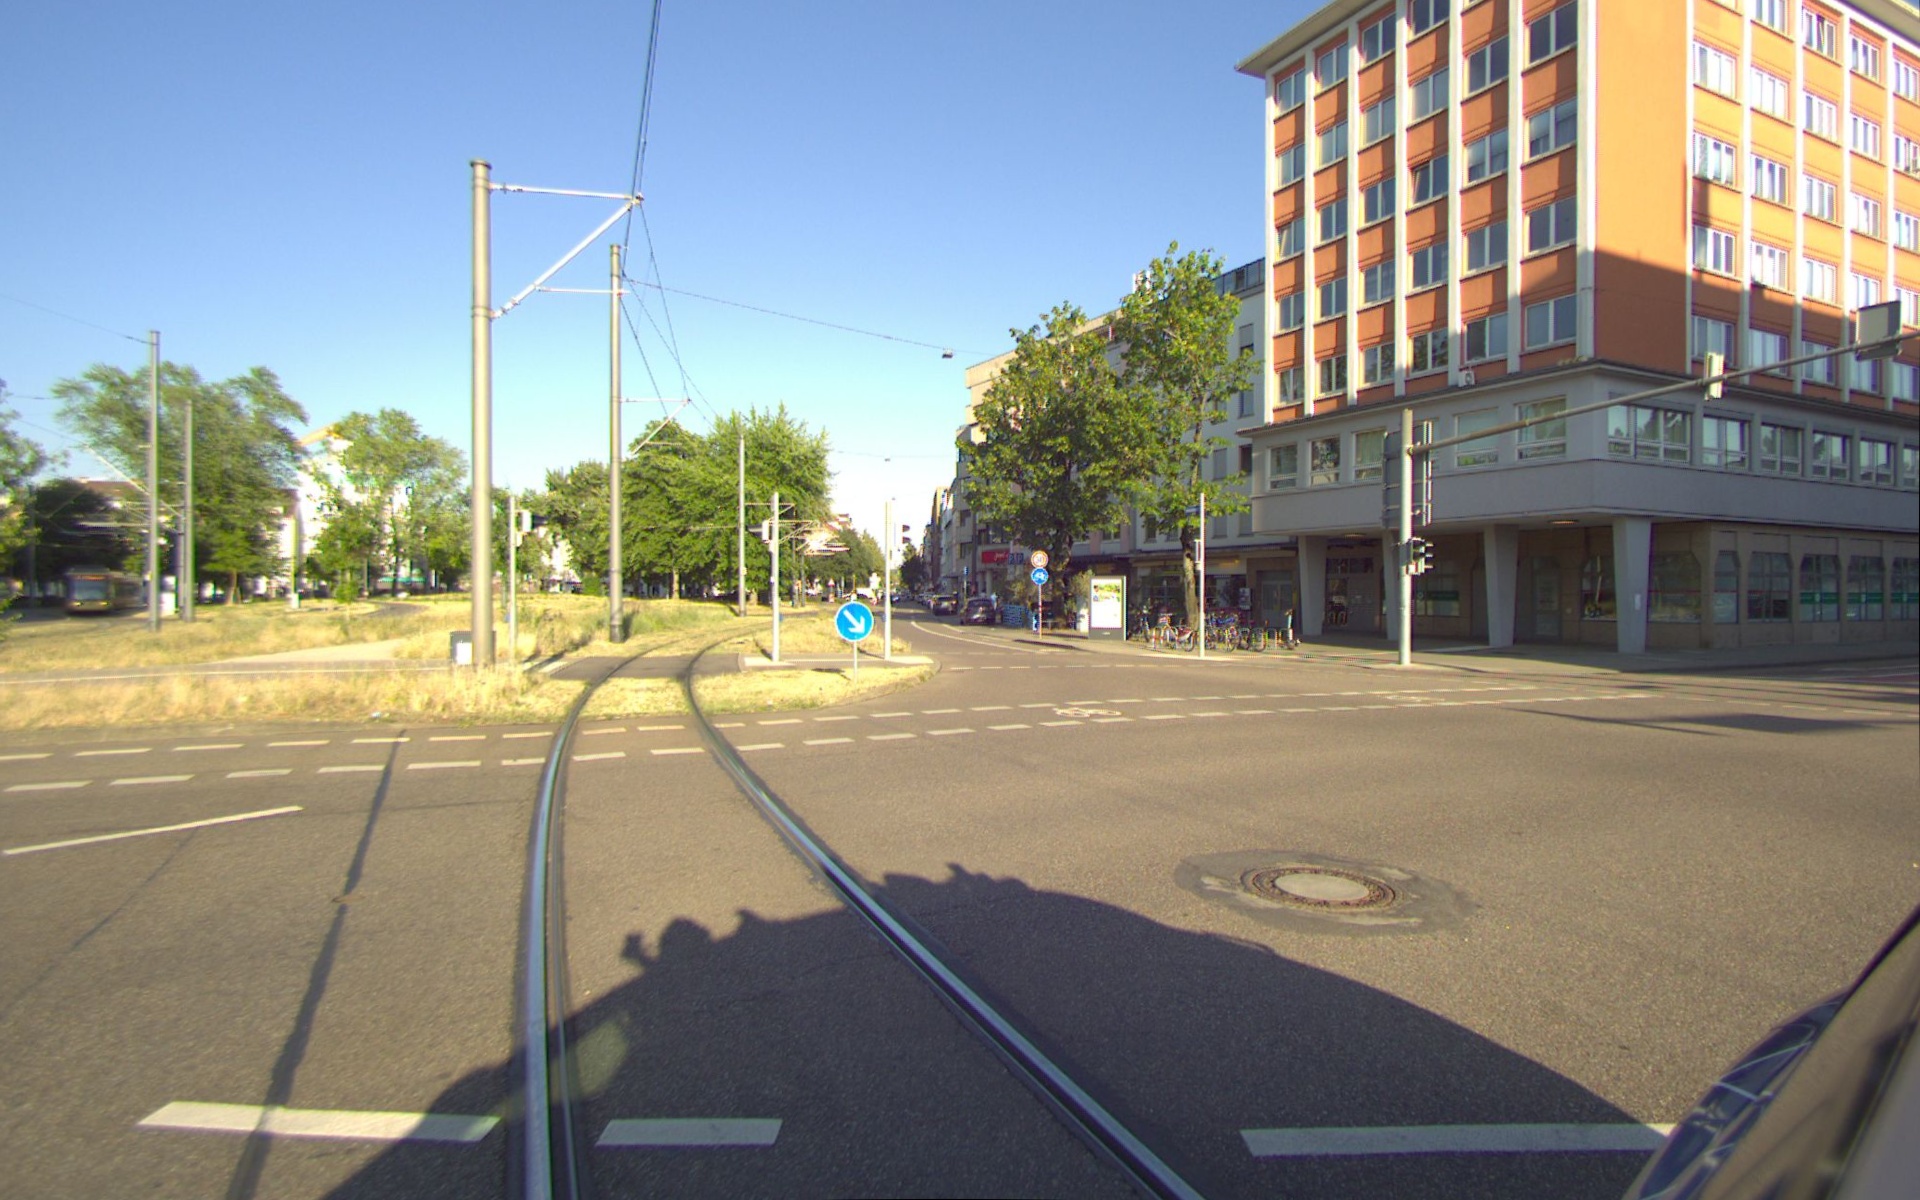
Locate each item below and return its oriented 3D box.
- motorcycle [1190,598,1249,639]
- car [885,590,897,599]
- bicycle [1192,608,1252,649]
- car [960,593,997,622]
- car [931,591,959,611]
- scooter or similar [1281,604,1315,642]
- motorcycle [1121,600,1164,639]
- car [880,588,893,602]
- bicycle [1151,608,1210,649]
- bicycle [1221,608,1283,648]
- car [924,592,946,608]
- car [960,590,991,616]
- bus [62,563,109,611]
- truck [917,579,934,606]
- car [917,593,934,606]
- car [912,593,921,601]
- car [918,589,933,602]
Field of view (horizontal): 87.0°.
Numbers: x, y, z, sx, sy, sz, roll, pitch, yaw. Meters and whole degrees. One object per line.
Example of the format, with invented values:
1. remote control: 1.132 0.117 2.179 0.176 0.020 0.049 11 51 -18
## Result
1. motorcycle: 9.173 0.637 35.722 2.225 1.410 0.843 0 -1 -38
2. car: -10.912 -0.884 159.932 1.644 1.341 3.781 0 1 -5
3. bicycle: 8.151 0.861 31.583 0.582 1.128 2.010 1 2 -28
4. car: 0.953 0.378 54.328 1.608 1.446 3.640 0 1 -5
5. car: -1.226 0.045 79.663 1.925 1.576 3.877 0 1 -5
6. scooter or similar: 11.765 0.788 35.235 0.475 1.251 1.564 0 2 -7
7. motorcycle: 6.632 0.681 36.906 0.872 1.324 2.061 0 1 -11
8. car: -9.629 -0.696 132.343 1.616 1.836 3.493 0 0 -5
9. bicycle: 6.711 0.846 30.839 0.582 1.129 1.981 1 2 -28
10. bicycle: 9.246 0.873 32.164 0.582 1.128 2.065 1 2 -29
11. car: -2.260 0.009 90.664 1.705 1.401 3.395 0 1 -5
12. car: 0.939 0.170 64.628 1.608 1.566 3.640 0 1 -5
13. bus: -63.145 -0.943 73.035 2.369 3.250 11.098 -1 1 -41
14. truck: -4.282 -0.947 125.604 1.705 3.260 6.414 0 0 -5
15. car: -4.047 -0.048 117.846 1.705 1.401 3.628 0 1 -5
16. car: -7.440 -0.487 172.266 1.466 1.391 3.428 0 1 -5
17. car: -4.575 -0.621 132.723 1.736 1.723 3.584 0 1 -5
